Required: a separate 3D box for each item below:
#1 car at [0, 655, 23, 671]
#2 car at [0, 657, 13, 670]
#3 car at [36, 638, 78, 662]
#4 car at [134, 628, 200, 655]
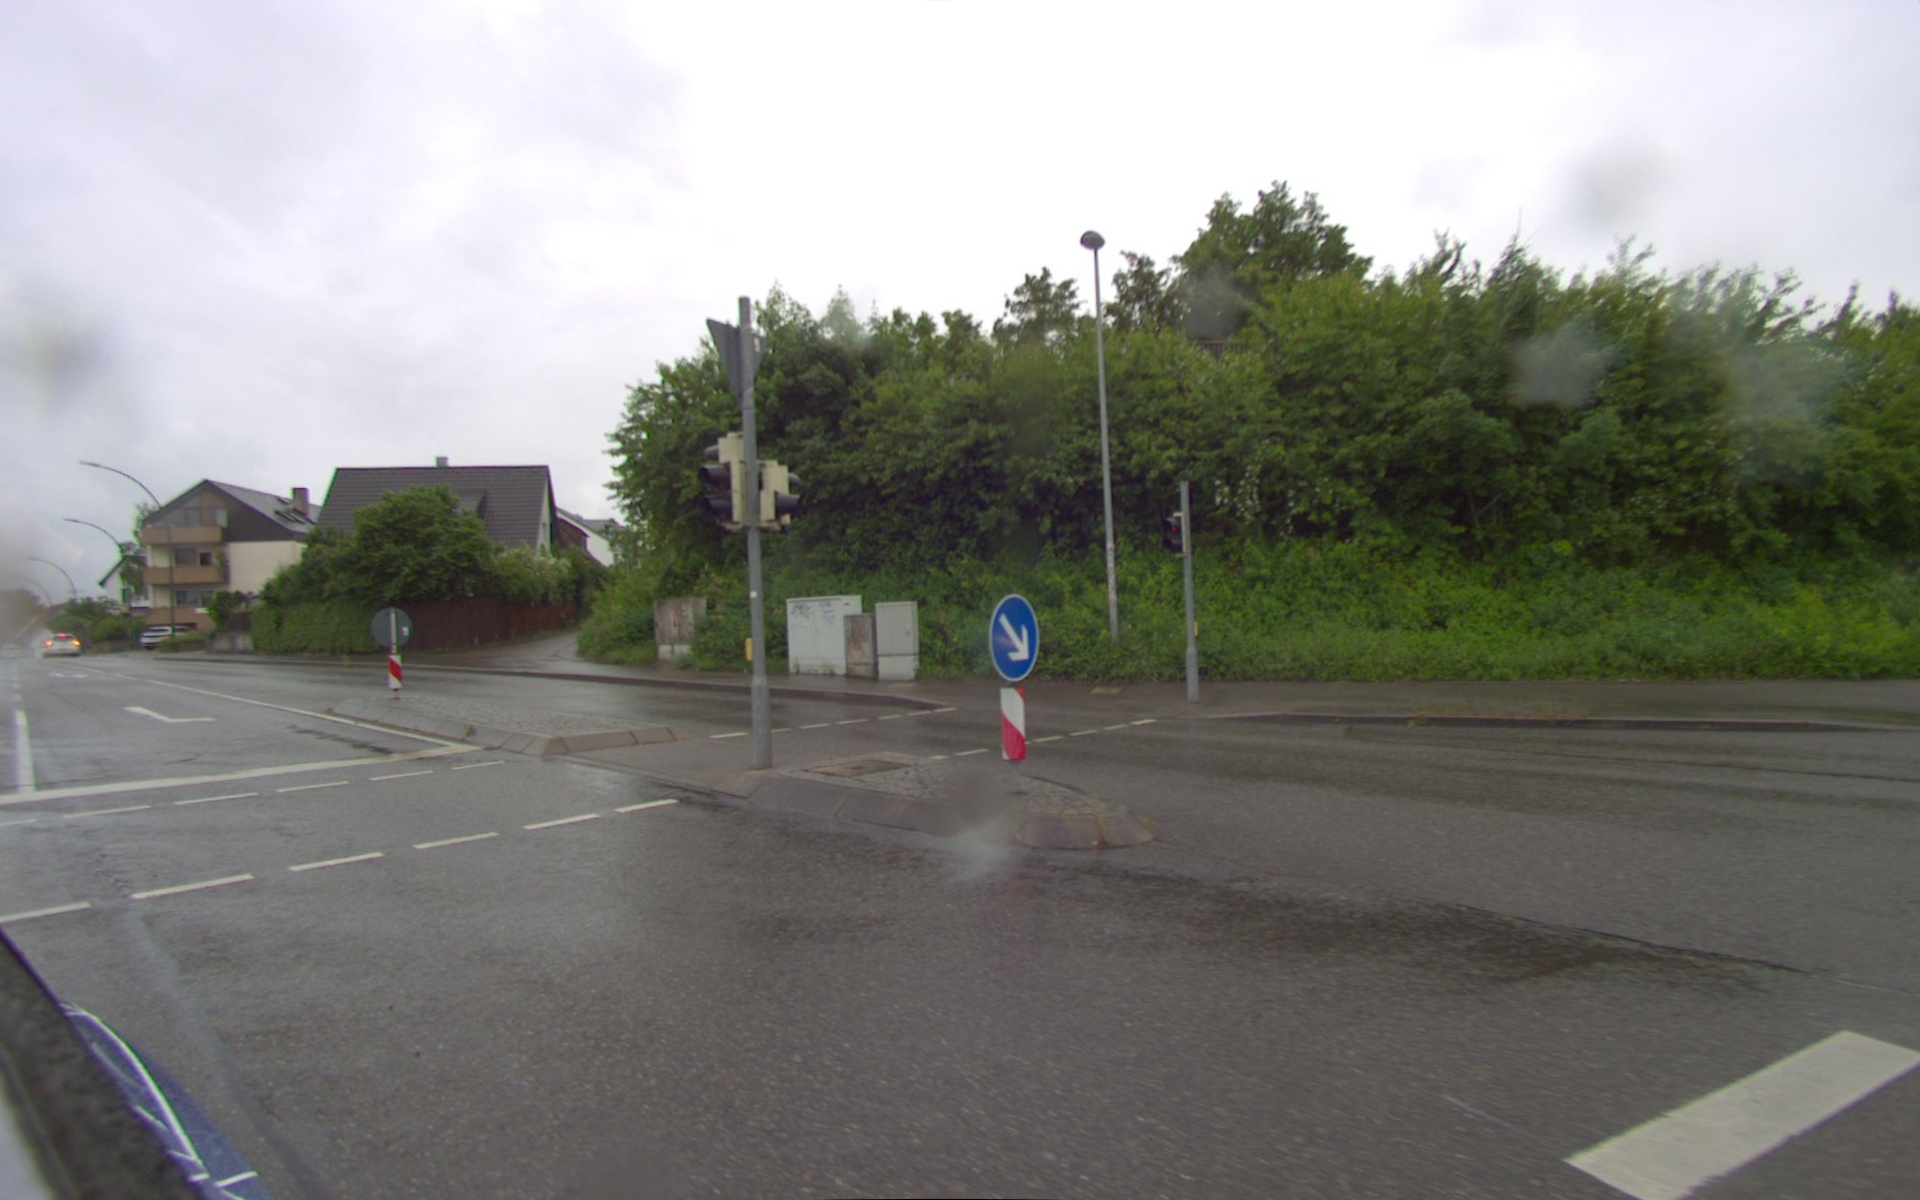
[{"bbox_3d":[-97.134,6.400,103.321,4.319,1.516,1.647,-2,0,40],"label":"car"},{"bbox_3d":[-112.599,7.504,118.840,3.999,1.350,1.778,-1,0,42],"label":"car"},{"bbox_3d":[-59.040,3.265,66.173,3.821,1.516,1.603,-2,-2,41],"label":"car"},{"bbox_3d":[-51.061,2.659,65.280,1.639,1.558,4.008,-1,0,-9],"label":"car"}]
